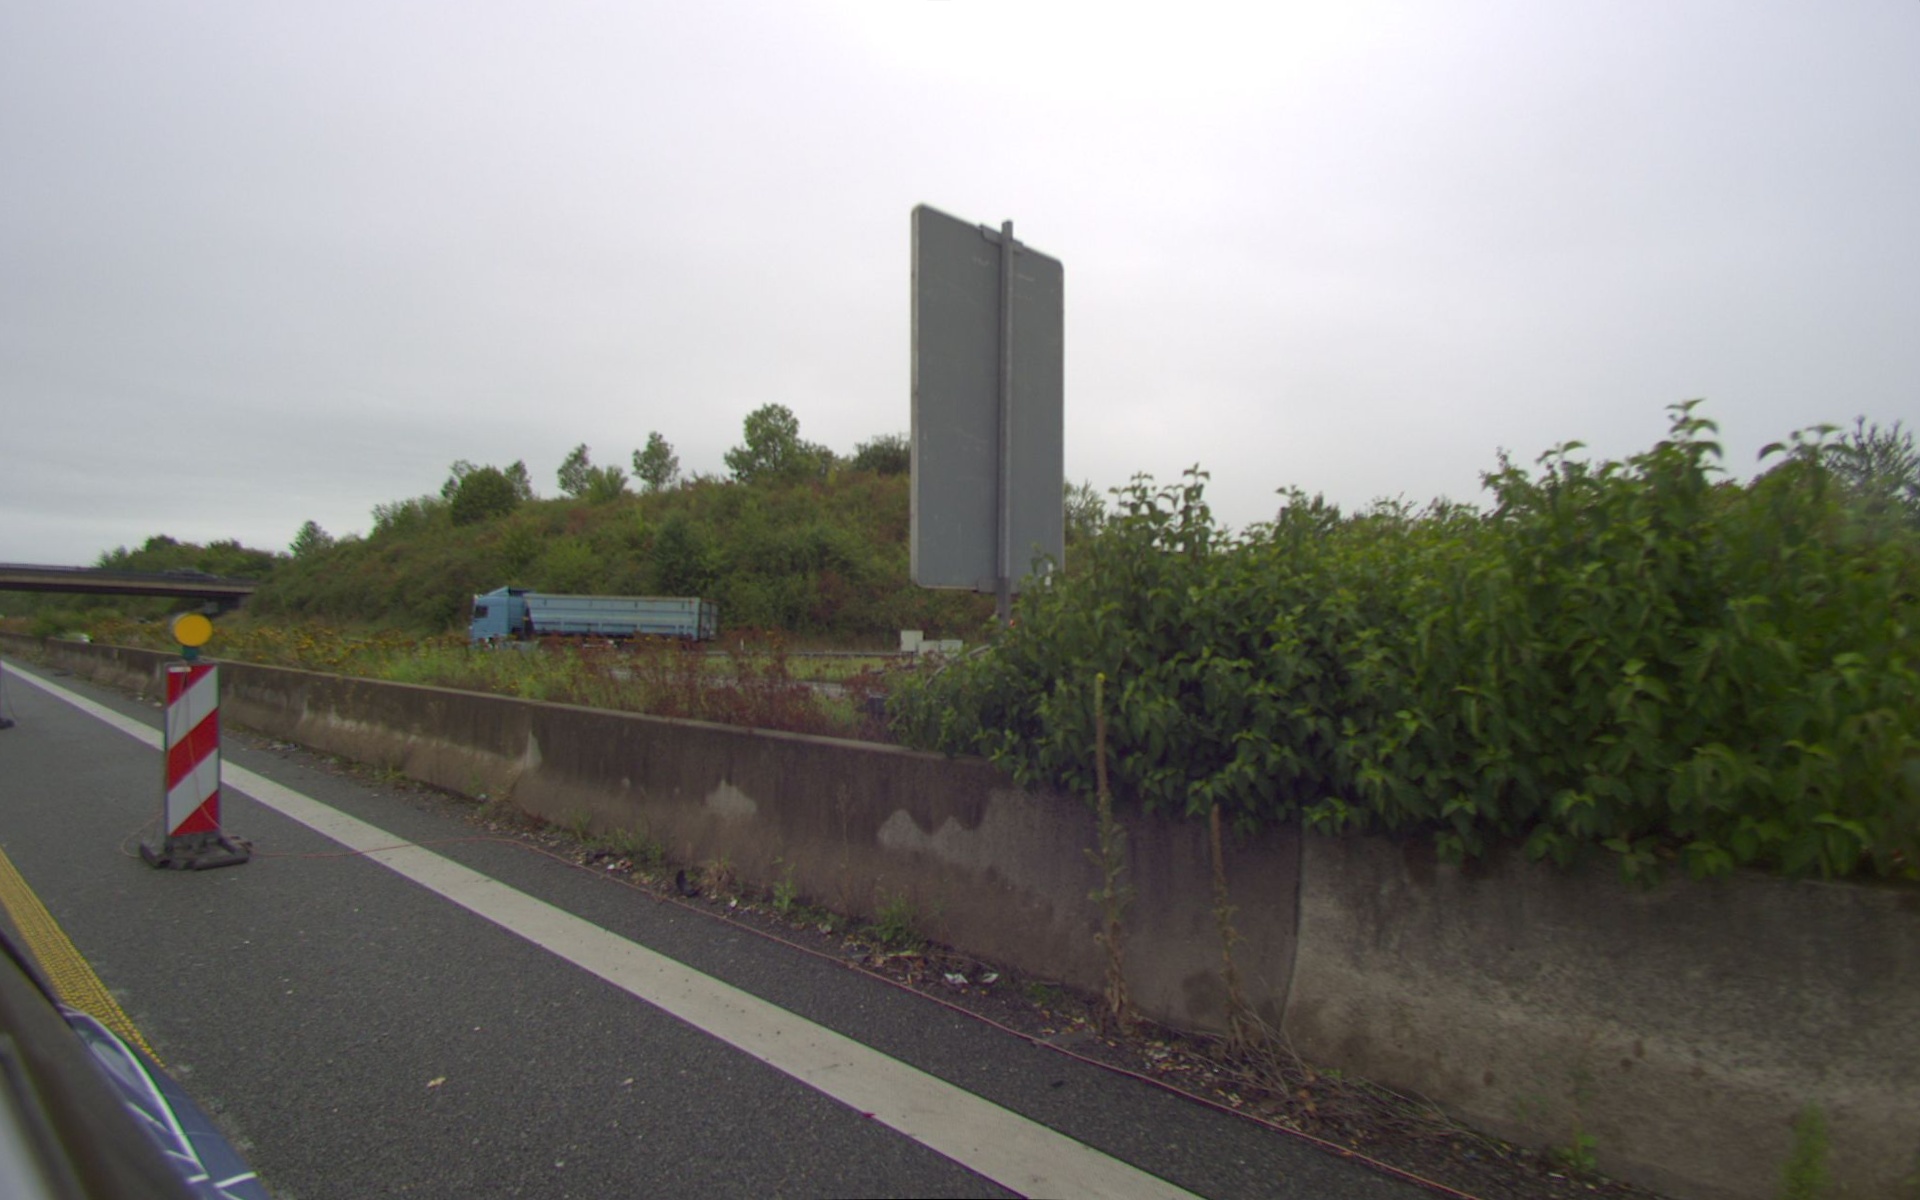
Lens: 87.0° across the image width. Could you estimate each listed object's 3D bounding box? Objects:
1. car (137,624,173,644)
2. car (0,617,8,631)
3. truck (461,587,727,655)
[{"bbox_3d":[-77.963,3.293,98.015,4.226,1.803,1.973,-2,-3,41],"label":"car"},{"bbox_3d":[-182.263,4.546,191.854,5.884,2.459,2.215,-2,-3,44],"label":"car"},{"bbox_3d":[-20.444,1.195,56.630,14.414,3.647,2.892,0,-2,9],"label":"truck"}]
